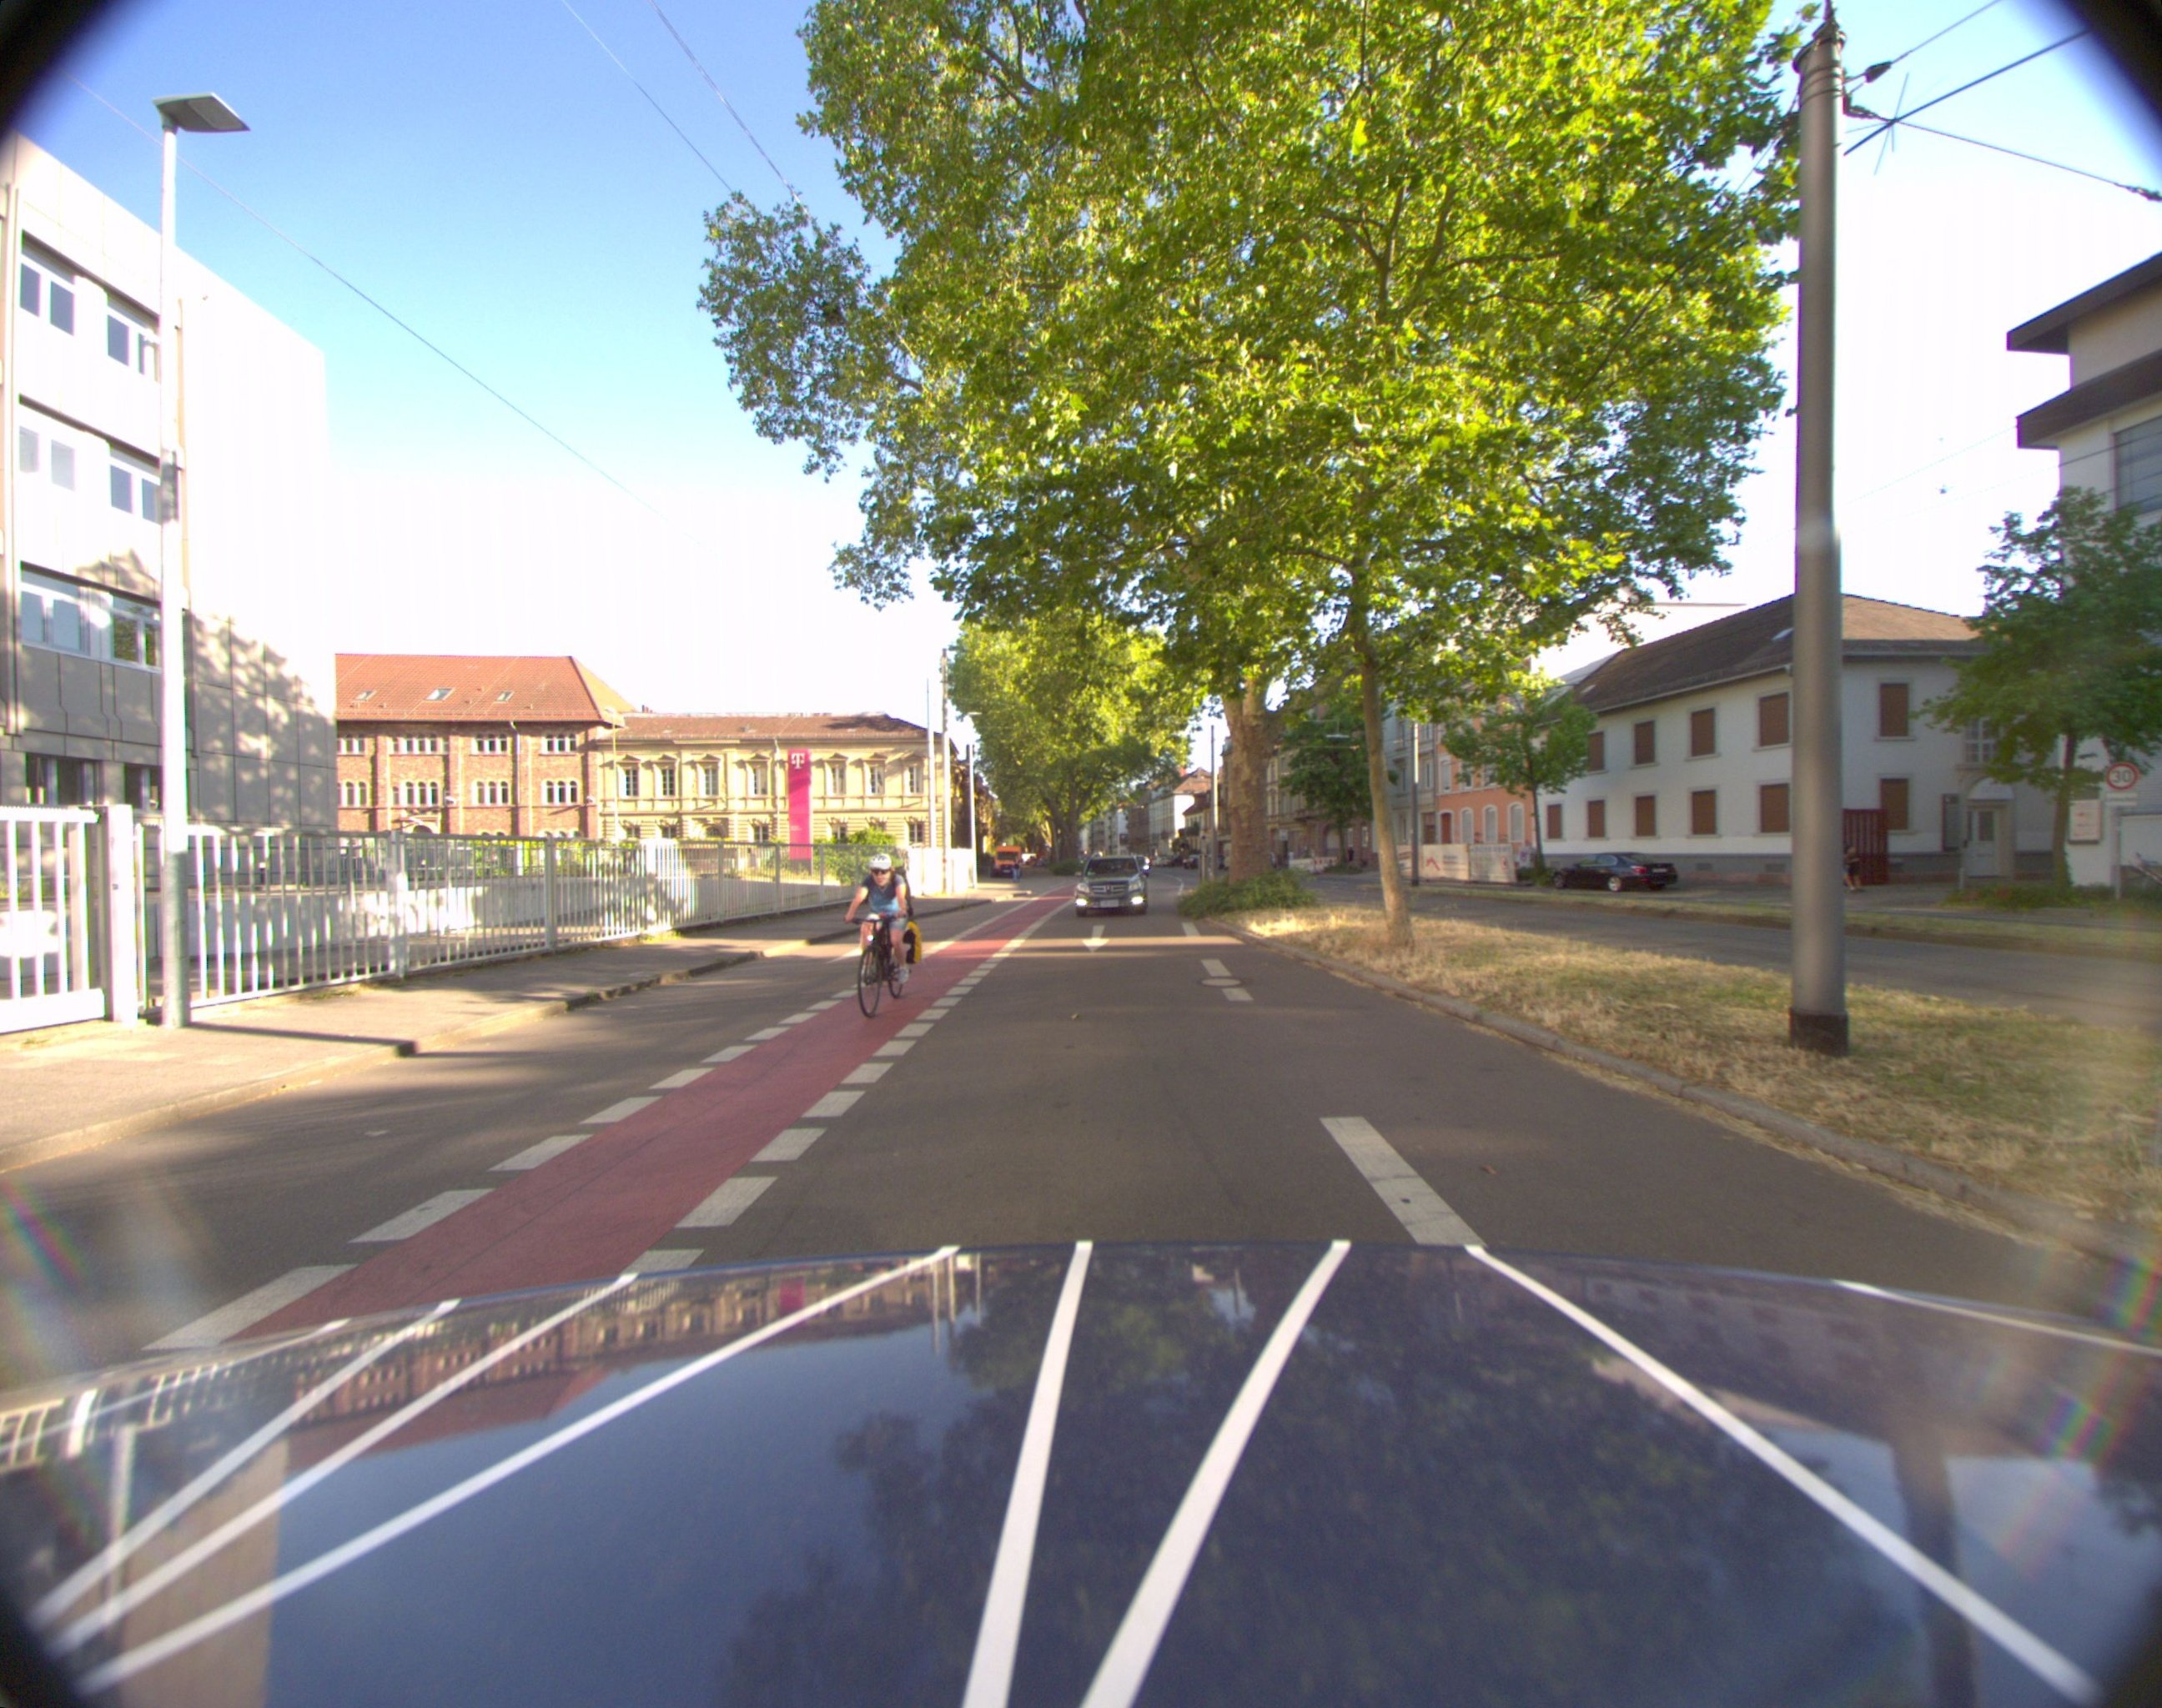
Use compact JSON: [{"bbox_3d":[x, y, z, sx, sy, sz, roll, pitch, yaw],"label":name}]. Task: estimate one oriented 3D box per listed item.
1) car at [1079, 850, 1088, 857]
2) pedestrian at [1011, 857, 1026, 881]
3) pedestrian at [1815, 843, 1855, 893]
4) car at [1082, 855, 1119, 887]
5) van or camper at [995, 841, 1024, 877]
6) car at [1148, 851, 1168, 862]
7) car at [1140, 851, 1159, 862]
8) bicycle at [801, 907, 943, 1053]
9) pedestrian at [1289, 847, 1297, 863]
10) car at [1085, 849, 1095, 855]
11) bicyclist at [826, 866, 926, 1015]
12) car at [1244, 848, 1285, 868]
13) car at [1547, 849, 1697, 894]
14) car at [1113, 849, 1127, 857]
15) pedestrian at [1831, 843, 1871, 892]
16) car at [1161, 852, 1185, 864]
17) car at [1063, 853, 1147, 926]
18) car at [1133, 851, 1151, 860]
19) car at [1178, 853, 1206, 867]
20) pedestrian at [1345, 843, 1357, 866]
[{"bbox_3d":[0.702,-0.141,191.607,1.999,1.741,3.998,-2,1,-4],"label":"car"},{"bbox_3d":[-3.973,0.955,48.356,0.899,1.464,0.810,-1,1,-3],"label":"pedestrian"},{"bbox_3d":[23.555,0.423,23.745,0.537,1.519,0.711,-1,1,-11],"label":"pedestrian"},{"bbox_3d":[1.132,0.913,42.542,1.793,1.493,4.302,-3,1,4],"label":"car"},{"bbox_3d":[-5.446,0.357,58.705,1.999,2.578,5.623,-2,1,-4],"label":"van or camper"},{"bbox_3d":[11.610,0.379,114.875,2.088,1.531,4.036,-4,1,-7],"label":"car"},{"bbox_3d":[10.814,0.342,120.796,2.088,1.531,4.095,-4,1,-7],"label":"car"},{"bbox_3d":[-2.078,1.208,7.940,0.764,1.137,2.307,-1,0,2],"label":"bicycle"},{"bbox_3d":[20.092,0.083,72.055,0.641,1.519,0.615,-1,1,0],"label":"pedestrian"},{"bbox_3d":[2.546,-0.684,218.654,2.088,1.531,4.124,-4,1,-7],"label":"car"},{"bbox_3d":[-2.096,0.860,7.868,0.727,1.414,0.859,-2,1,2],"label":"bicyclist"},{"bbox_3d":[16.887,0.372,70.209,2.088,1.664,4.530,-4,1,-7],"label":"car"},{"bbox_3d":[20.518,0.624,29.130,2.088,1.462,4.576,-4,1,-7],"label":"car"},{"bbox_3d":[7.930,-0.132,156.224,2.088,1.531,4.117,-4,1,-7],"label":"car"},{"bbox_3d":[24.438,0.423,24.130,0.537,1.519,0.711,-1,1,-5],"label":"pedestrian"},{"bbox_3d":[12.761,0.485,105.996,2.088,1.531,5.101,-4,1,-7],"label":"car"},{"bbox_3d":[0.787,0.866,20.752,1.907,1.634,4.518,-3,1,6],"label":"car"},{"bbox_3d":[10.485,0.262,130.706,2.088,1.531,4.253,-4,1,-7],"label":"car"},{"bbox_3d":[13.536,0.702,92.921,2.088,1.531,4.513,-4,1,-7],"label":"car"},{"bbox_3d":[21.301,0.059,59.903,0.562,1.798,0.704,-1,1,-11],"label":"pedestrian"}]
